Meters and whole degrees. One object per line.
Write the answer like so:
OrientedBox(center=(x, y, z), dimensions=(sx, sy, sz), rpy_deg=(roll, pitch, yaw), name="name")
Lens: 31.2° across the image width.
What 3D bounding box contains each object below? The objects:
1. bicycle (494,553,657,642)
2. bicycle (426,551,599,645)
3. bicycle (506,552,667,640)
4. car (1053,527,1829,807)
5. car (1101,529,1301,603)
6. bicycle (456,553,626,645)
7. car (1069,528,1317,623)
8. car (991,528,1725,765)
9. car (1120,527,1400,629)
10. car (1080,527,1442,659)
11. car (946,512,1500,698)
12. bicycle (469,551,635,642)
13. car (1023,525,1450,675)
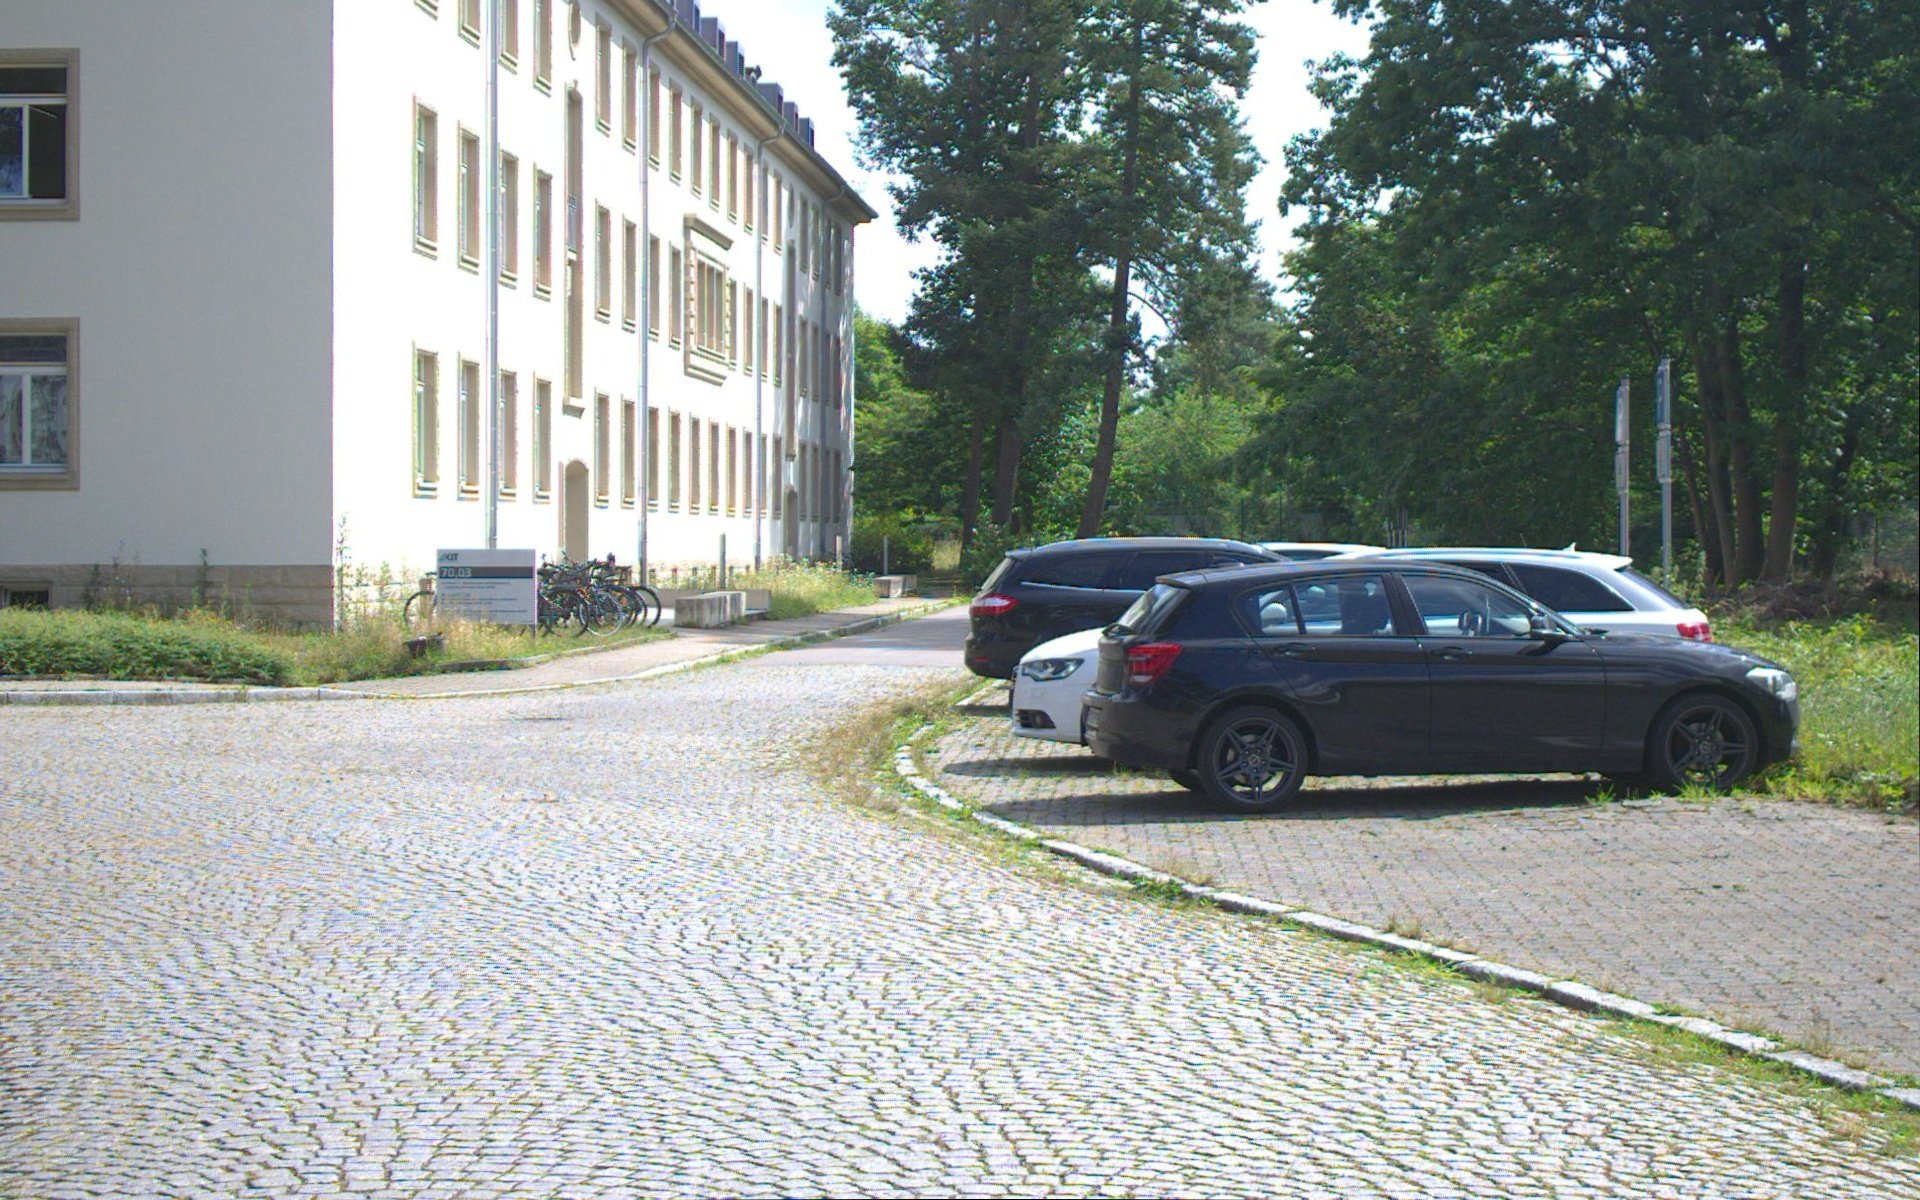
OrientedBox(center=(-5.457, -0.043, 48.831), dimensions=(2.222, 1.256, 0.623), rpy_deg=(0, 1, 6), name="bicycle")
OrientedBox(center=(-6.021, -0.029, 46.318), dimensions=(2.223, 1.256, 0.623), rpy_deg=(0, 1, 10), name="bicycle")
OrientedBox(center=(-5.410, -0.059, 49.839), dimensions=(2.222, 1.256, 0.623), rpy_deg=(0, 1, 6), name="bicycle")
OrientedBox(center=(2.820, 0.362, 20.743), dimensions=(4.324, 1.495, 1.830), rpy_deg=(-1, 2, -4), name="car")
OrientedBox(center=(5.175, -0.720, 73.454), dimensions=(4.188, 1.479, 1.820), rpy_deg=(-1, 0, 6), name="car")
OrientedBox(center=(-5.737, -0.015, 47.084), dimensions=(2.222, 1.256, 0.623), rpy_deg=(0, 1, 6), name="bicycle")
OrientedBox(center=(4.047, -0.417, 59.388), dimensions=(4.188, 1.538, 1.820), rpy_deg=(-1, 0, 6), name="car")
OrientedBox(center=(2.690, 0.295, 23.924), dimensions=(4.862, 1.467, 1.874), rpy_deg=(-1, 2, 3), name="car")
OrientedBox(center=(4.706, -0.341, 53.927), dimensions=(4.267, 1.479, 1.820), rpy_deg=(-1, 0, 6), name="car")
OrientedBox(center=(3.615, -0.085, 41.303), dimensions=(4.208, 1.479, 1.820), rpy_deg=(-1, 0, 6), name="car")
OrientedBox(center=(2.357, 0.041, 31.314), dimensions=(4.853, 1.547, 1.880), rpy_deg=(-1, 0, 3), name="car")
OrientedBox(center=(-5.700, -0.056, 48.039), dimensions=(2.223, 1.256, 0.623), rpy_deg=(0, 1, 10), name="bicycle")
OrientedBox(center=(2.903, -0.005, 36.602), dimensions=(4.398, 1.479, 1.765), rpy_deg=(-1, 0, 3), name="car")
